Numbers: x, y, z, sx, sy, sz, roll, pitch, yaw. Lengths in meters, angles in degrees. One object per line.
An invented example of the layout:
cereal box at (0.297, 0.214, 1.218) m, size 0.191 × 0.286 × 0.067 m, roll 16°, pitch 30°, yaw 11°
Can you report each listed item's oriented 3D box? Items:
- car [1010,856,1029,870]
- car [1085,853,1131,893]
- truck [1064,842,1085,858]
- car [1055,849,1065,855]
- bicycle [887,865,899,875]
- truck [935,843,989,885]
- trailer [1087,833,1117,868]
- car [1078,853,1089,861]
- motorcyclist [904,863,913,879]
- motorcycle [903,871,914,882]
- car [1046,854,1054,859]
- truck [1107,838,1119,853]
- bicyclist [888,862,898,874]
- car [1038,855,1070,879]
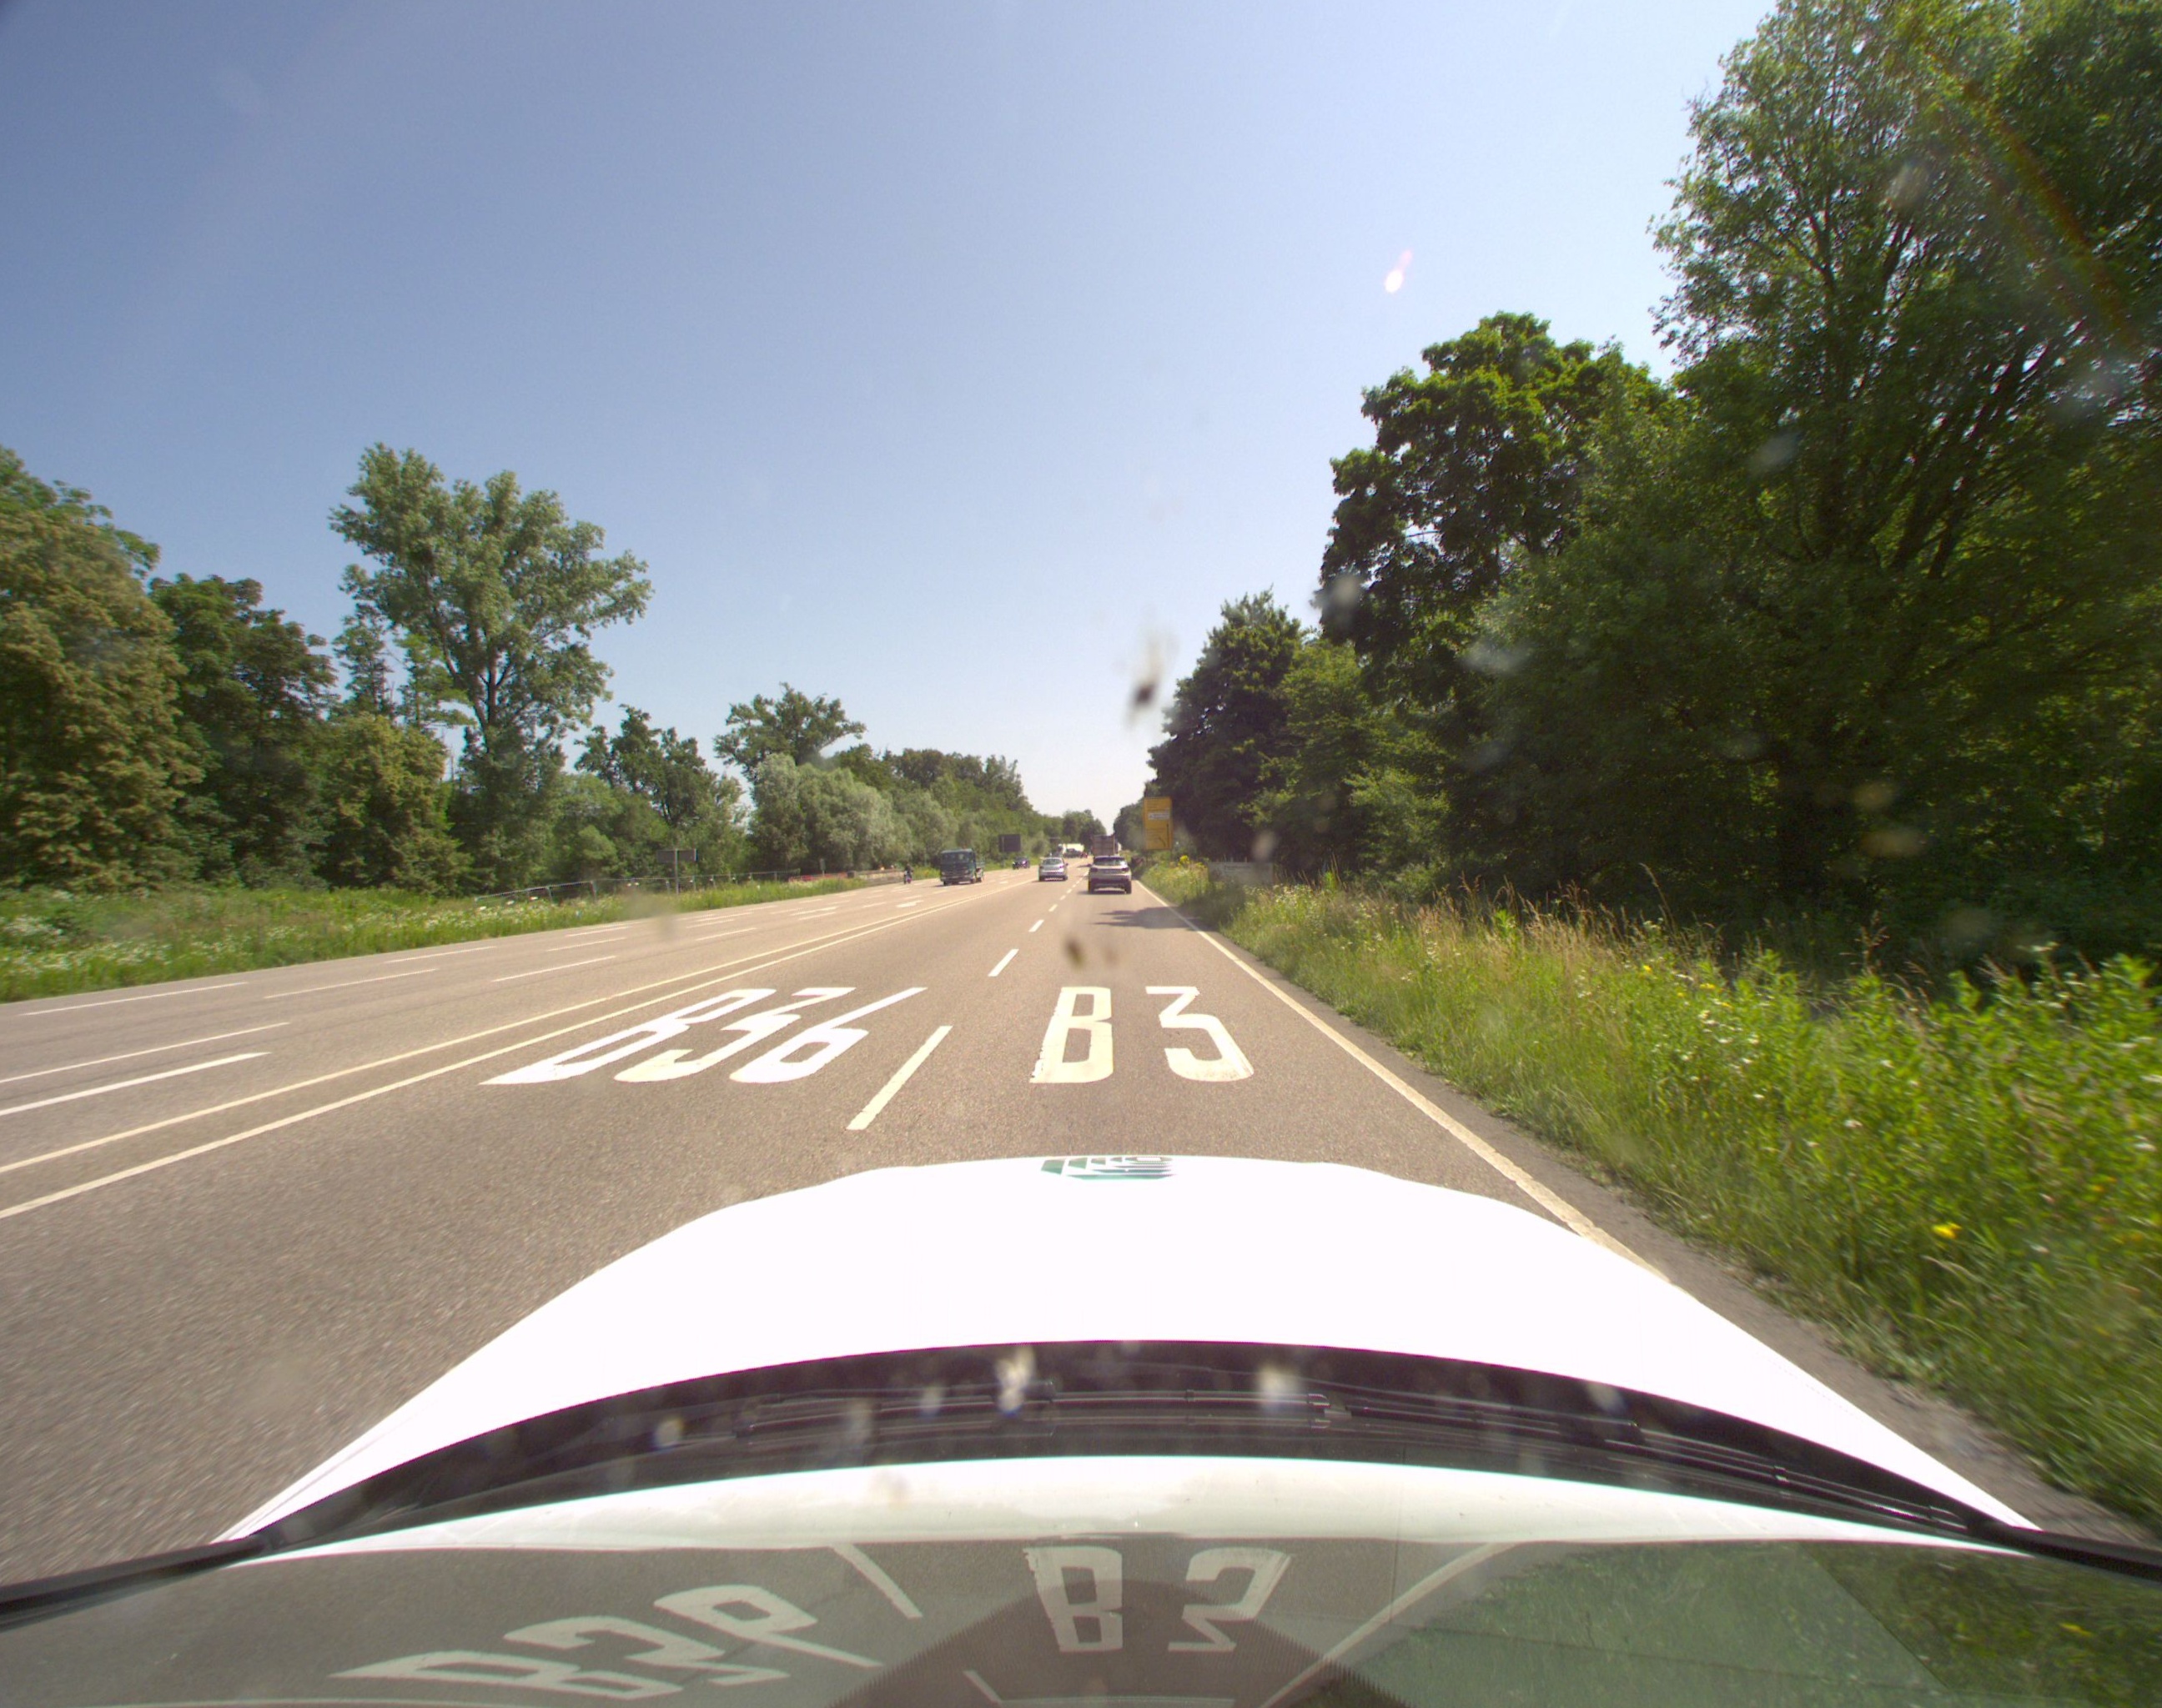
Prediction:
car at (-8.734, 1.276, 116.097) m, size 1.986 × 1.881 × 4.961 m, roll -3°, pitch 0°, yaw 1°
car at (1.175, 0.752, 34.152) m, size 1.760 × 1.535 × 4.003 m, roll -2°, pitch 0°, yaw 3°
truck at (-1.909, -1.014, 222.433) m, size 3.651 × 4.105 × 9.463 m, roll -1°, pitch 0°, yaw -14°
car at (-6.144, -0.584, 238.197) m, size 1.995 × 1.585 × 3.984 m, roll -1°, pitch 0°, yaw -12°
bicycle at (-20.580, 1.735, 89.321) m, size 0.600 × 1.006 × 1.561 m, roll -4°, pitch 0°, yaw 13°
truck at (-8.538, 0.681, 59.126) m, size 2.444 × 2.656 × 6.495 m, roll -5°, pitch 0°, yaw 3°
trailer at (2.724, -0.377, 101.574) m, size 3.369 × 3.988 × 10.811 m, roll -1°, pitch 0°, yaw 3°
car at (0.720, 0.721, 205.316) m, size 1.993 × 2.013 × 4.539 m, roll -3°, pitch 0°, yaw -9°
motorcyclist at (-14.943, 1.488, 70.512) m, size 0.575 × 1.353 × 0.754 m, roll -3°, pitch 0°, yaw 0°
motorcycle at (-14.924, 1.927, 70.470) m, size 0.515 × 0.893 × 1.910 m, roll -3°, pitch 0°, yaw 0°
car at (-9.531, 0.769, 251.339) m, size 1.995 × 1.585 × 3.984 m, roll -1°, pitch 0°, yaw -12°
truck at (9.613, -2.539, 244.837) m, size 3.484 × 4.187 × 10.787 m, roll -1°, pitch 0°, yaw 2°
bicyclist at (-20.581, 1.533, 89.214) m, size 0.730 × 1.195 × 0.594 m, roll -4°, pitch -1°, yaw 13°
car at (-1.647, 0.774, 50.677) m, size 1.659 × 1.430 × 3.831 m, roll -1°, pitch 0°, yaw 3°
